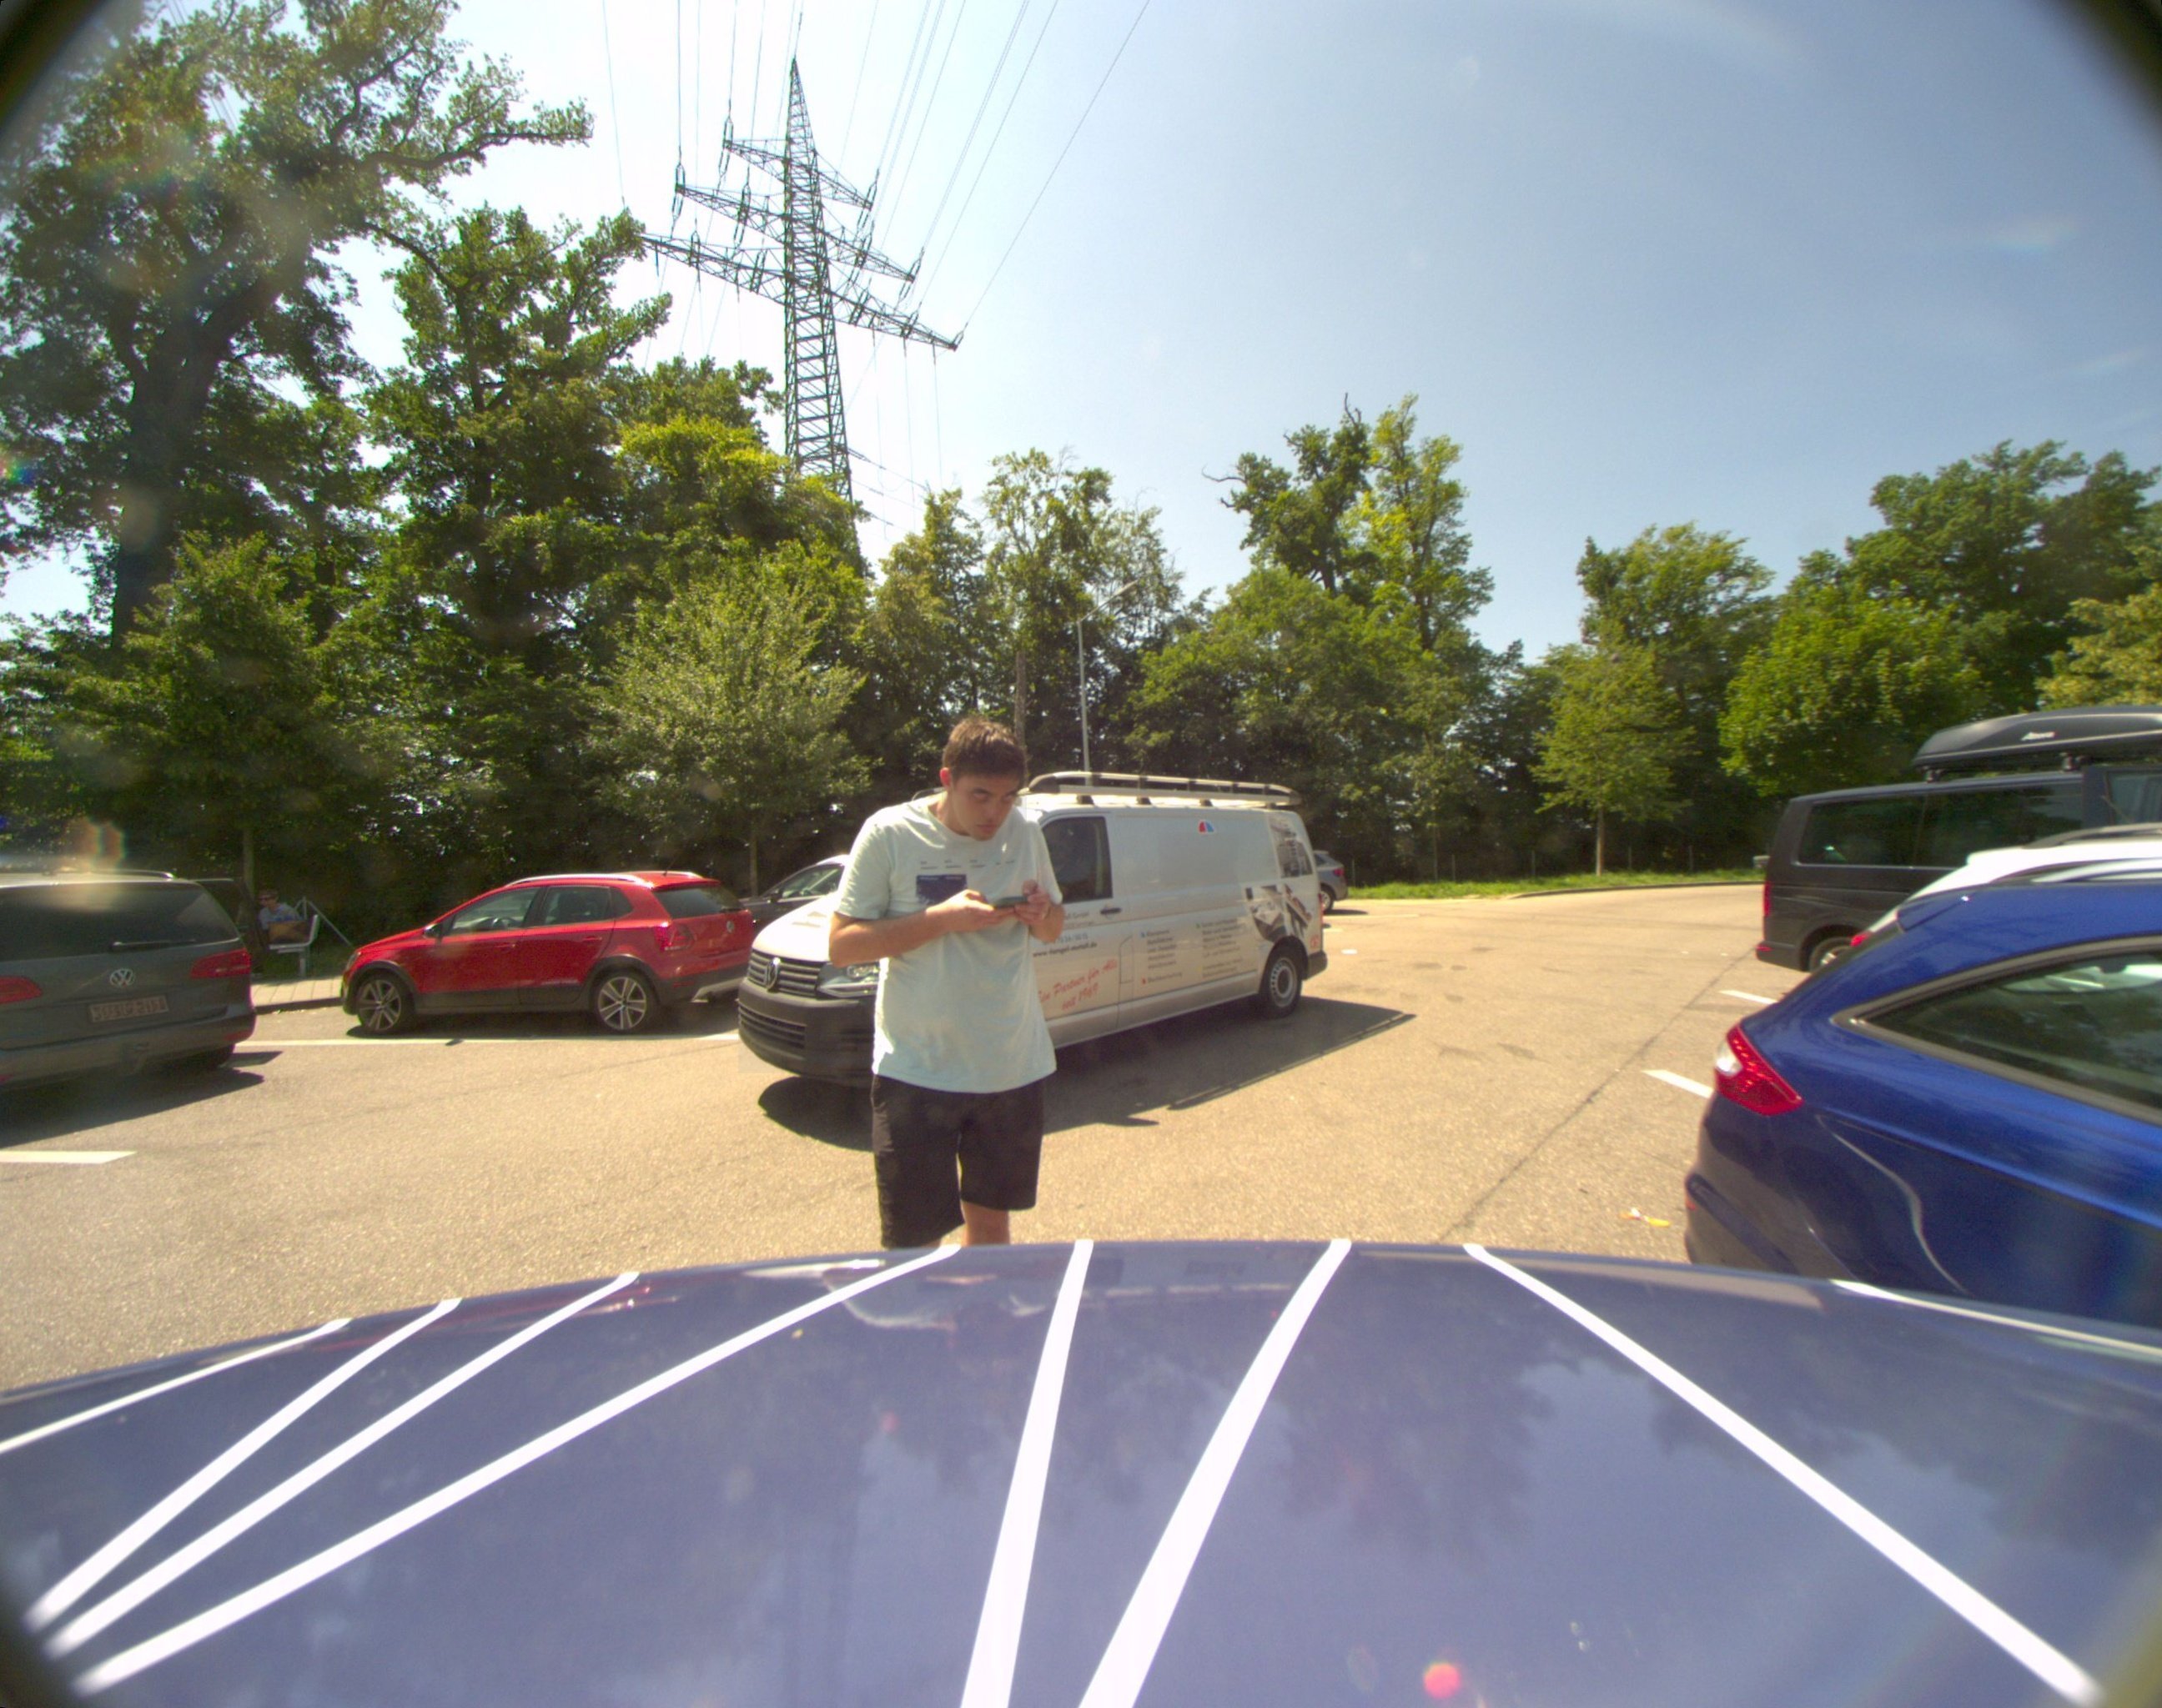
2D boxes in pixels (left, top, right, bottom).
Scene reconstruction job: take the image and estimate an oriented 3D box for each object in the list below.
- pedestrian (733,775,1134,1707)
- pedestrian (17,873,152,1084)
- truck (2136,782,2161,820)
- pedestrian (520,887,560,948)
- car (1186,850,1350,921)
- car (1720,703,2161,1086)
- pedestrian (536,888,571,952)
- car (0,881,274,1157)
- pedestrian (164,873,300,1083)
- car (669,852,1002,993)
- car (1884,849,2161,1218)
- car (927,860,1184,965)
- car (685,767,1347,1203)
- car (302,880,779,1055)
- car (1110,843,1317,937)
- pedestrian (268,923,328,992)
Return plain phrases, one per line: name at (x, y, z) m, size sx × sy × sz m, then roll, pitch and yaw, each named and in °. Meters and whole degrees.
pedestrian at (-0.379, 0.760, 1.889) m, size 0.741 × 1.818 × 0.613 m, roll -2°, pitch 0°, yaw -34°
pedestrian at (-8.564, 1.040, 6.543) m, size 0.436 × 1.712 × 0.511 m, roll -2°, pitch 1°, yaw 17°
truck at (40.261, -1.980, 27.080) m, size 1.168 × 1.367 × 2.882 m, roll -2°, pitch -1°, yaw -19°
pedestrian at (-10.950, 1.284, 15.387) m, size 0.413 × 1.186 × 0.443 m, roll -2°, pitch 1°, yaw 12°
car at (4.349, 0.725, 18.104) m, size 3.585 × 1.493 × 1.707 m, roll -2°, pitch 1°, yaw 8°
car at (7.311, 0.230, 5.416) m, size 1.788 × 2.304 × 4.084 m, roll -2°, pitch 0°, yaw -5°
pedestrian at (-10.151, 1.260, 14.612) m, size 0.366 × 1.186 × 0.356 m, roll -2°, pitch 1°, yaw 21°
car at (-8.376, 1.090, 5.414) m, size 3.903 × 1.607 × 1.705 m, roll -2°, pitch 1°, yaw 11°
pedestrian at (-7.375, 1.039, 6.615) m, size 0.481 × 1.712 × 0.589 m, roll -2°, pitch 1°, yaw 22°
car at (-3.117, 0.859, 10.223) m, size 3.866 × 1.607 × 1.709 m, roll -2°, pitch 0°, yaw 0°
car at (4.708, 0.668, 2.256) m, size 1.344 × 1.352 × 3.114 m, roll -2°, pitch 0°, yaw 1°
car at (-0.325, 0.881, 12.144) m, size 3.773 × 1.445 × 1.848 m, roll -2°, pitch 0°, yaw 4°
car at (0.031, 0.595, 6.211) m, size 5.445 × 2.092 × 1.839 m, roll -2°, pitch 1°, yaw -45°
car at (-5.257, 1.074, 7.654) m, size 3.745 × 1.458 × 1.621 m, roll -2°, pitch 0°, yaw 7°
car at (2.586, 0.694, 15.394) m, size 3.850 × 1.678 × 1.755 m, roll -2°, pitch 0°, yaw 4°
pedestrian at (-10.839, 1.418, 10.528) m, size 0.503 × 0.874 × 0.512 m, roll -2°, pitch 0°, yaw -39°
